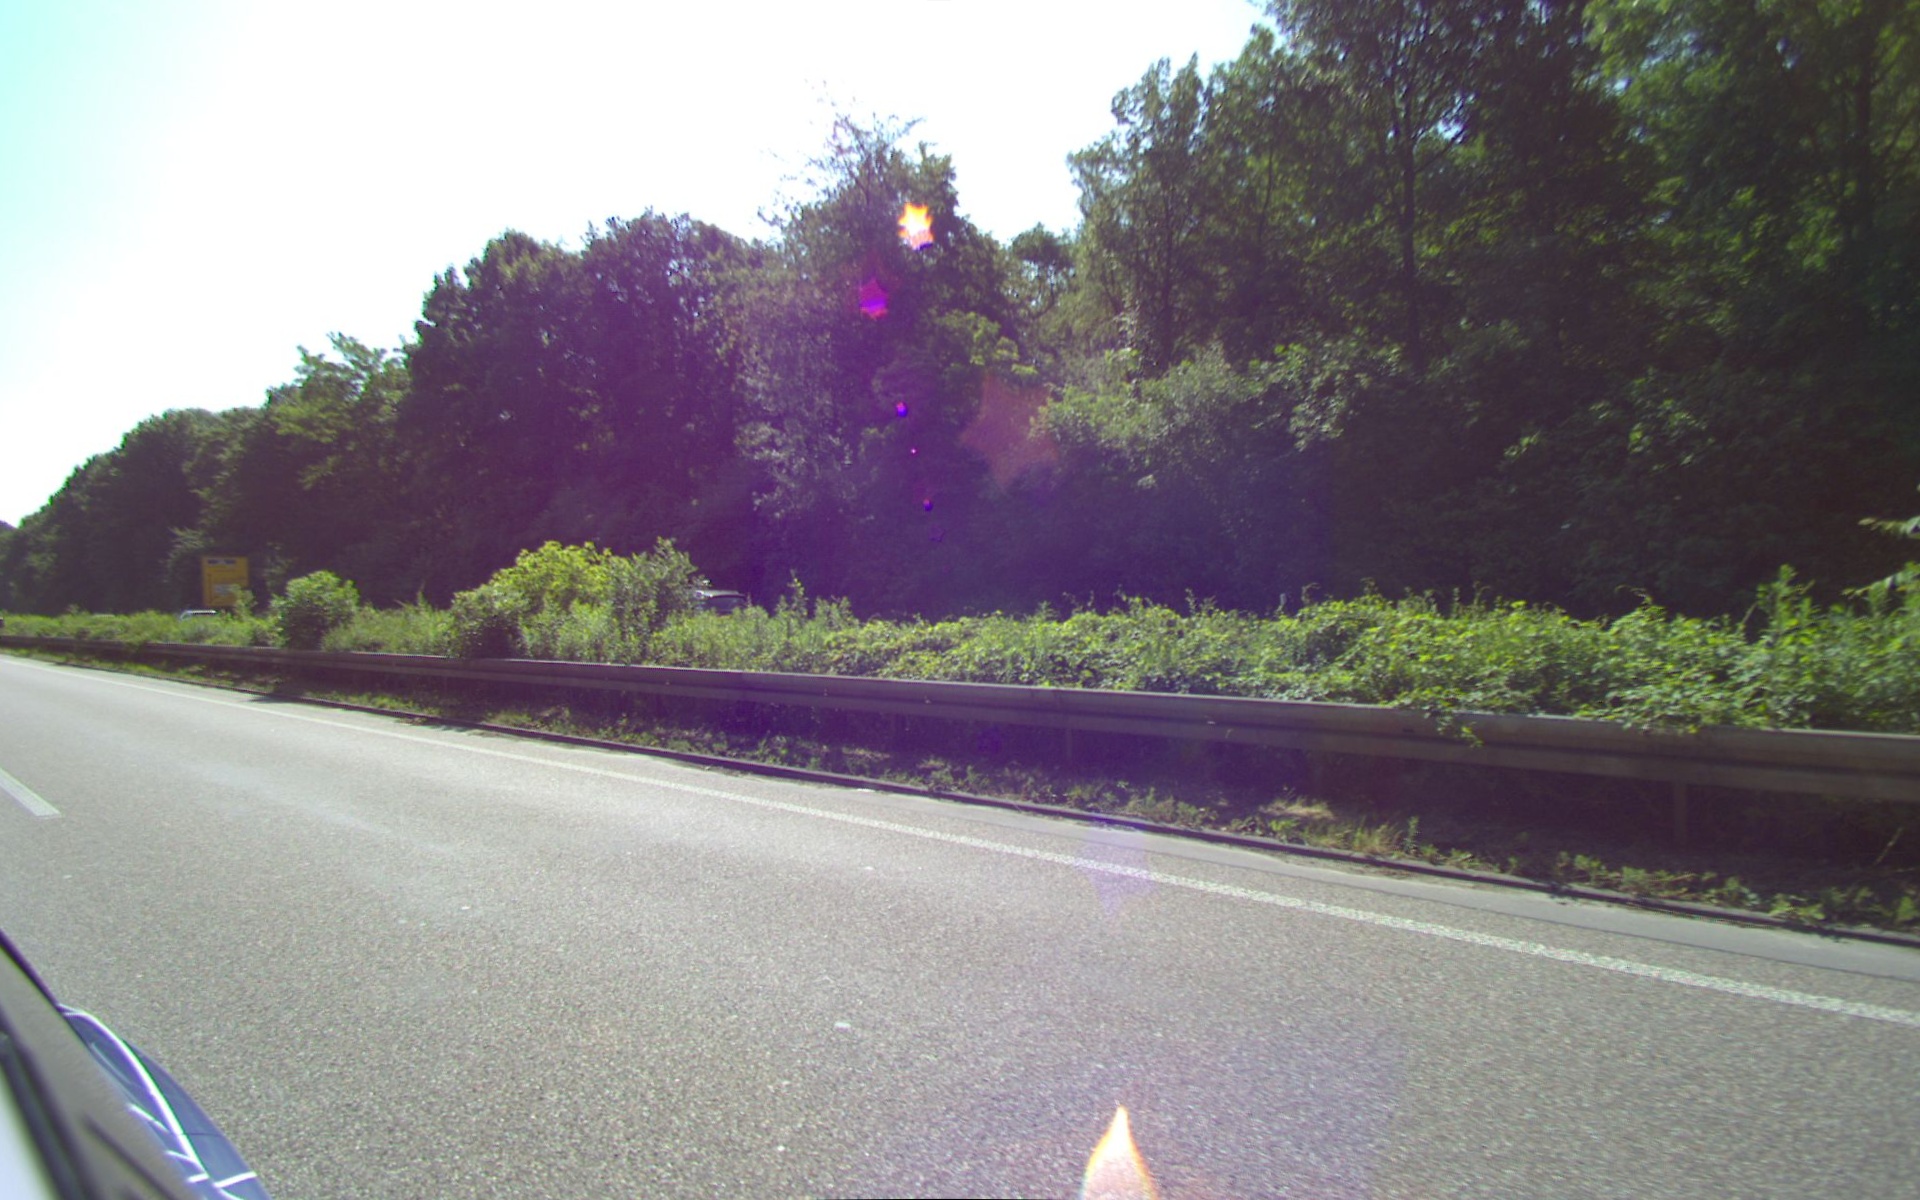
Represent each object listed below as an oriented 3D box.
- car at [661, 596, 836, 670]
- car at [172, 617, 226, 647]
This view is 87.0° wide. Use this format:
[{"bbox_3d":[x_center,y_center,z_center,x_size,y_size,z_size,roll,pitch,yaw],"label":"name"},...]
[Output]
[{"bbox_3d":[-5.272,0.839,24.865,4.710,1.675,1.675,-2,-3,40],"label":"car"},{"bbox_3d":[-44.425,1.897,59.046,3.997,1.675,1.675,-3,-4,40],"label":"car"}]
